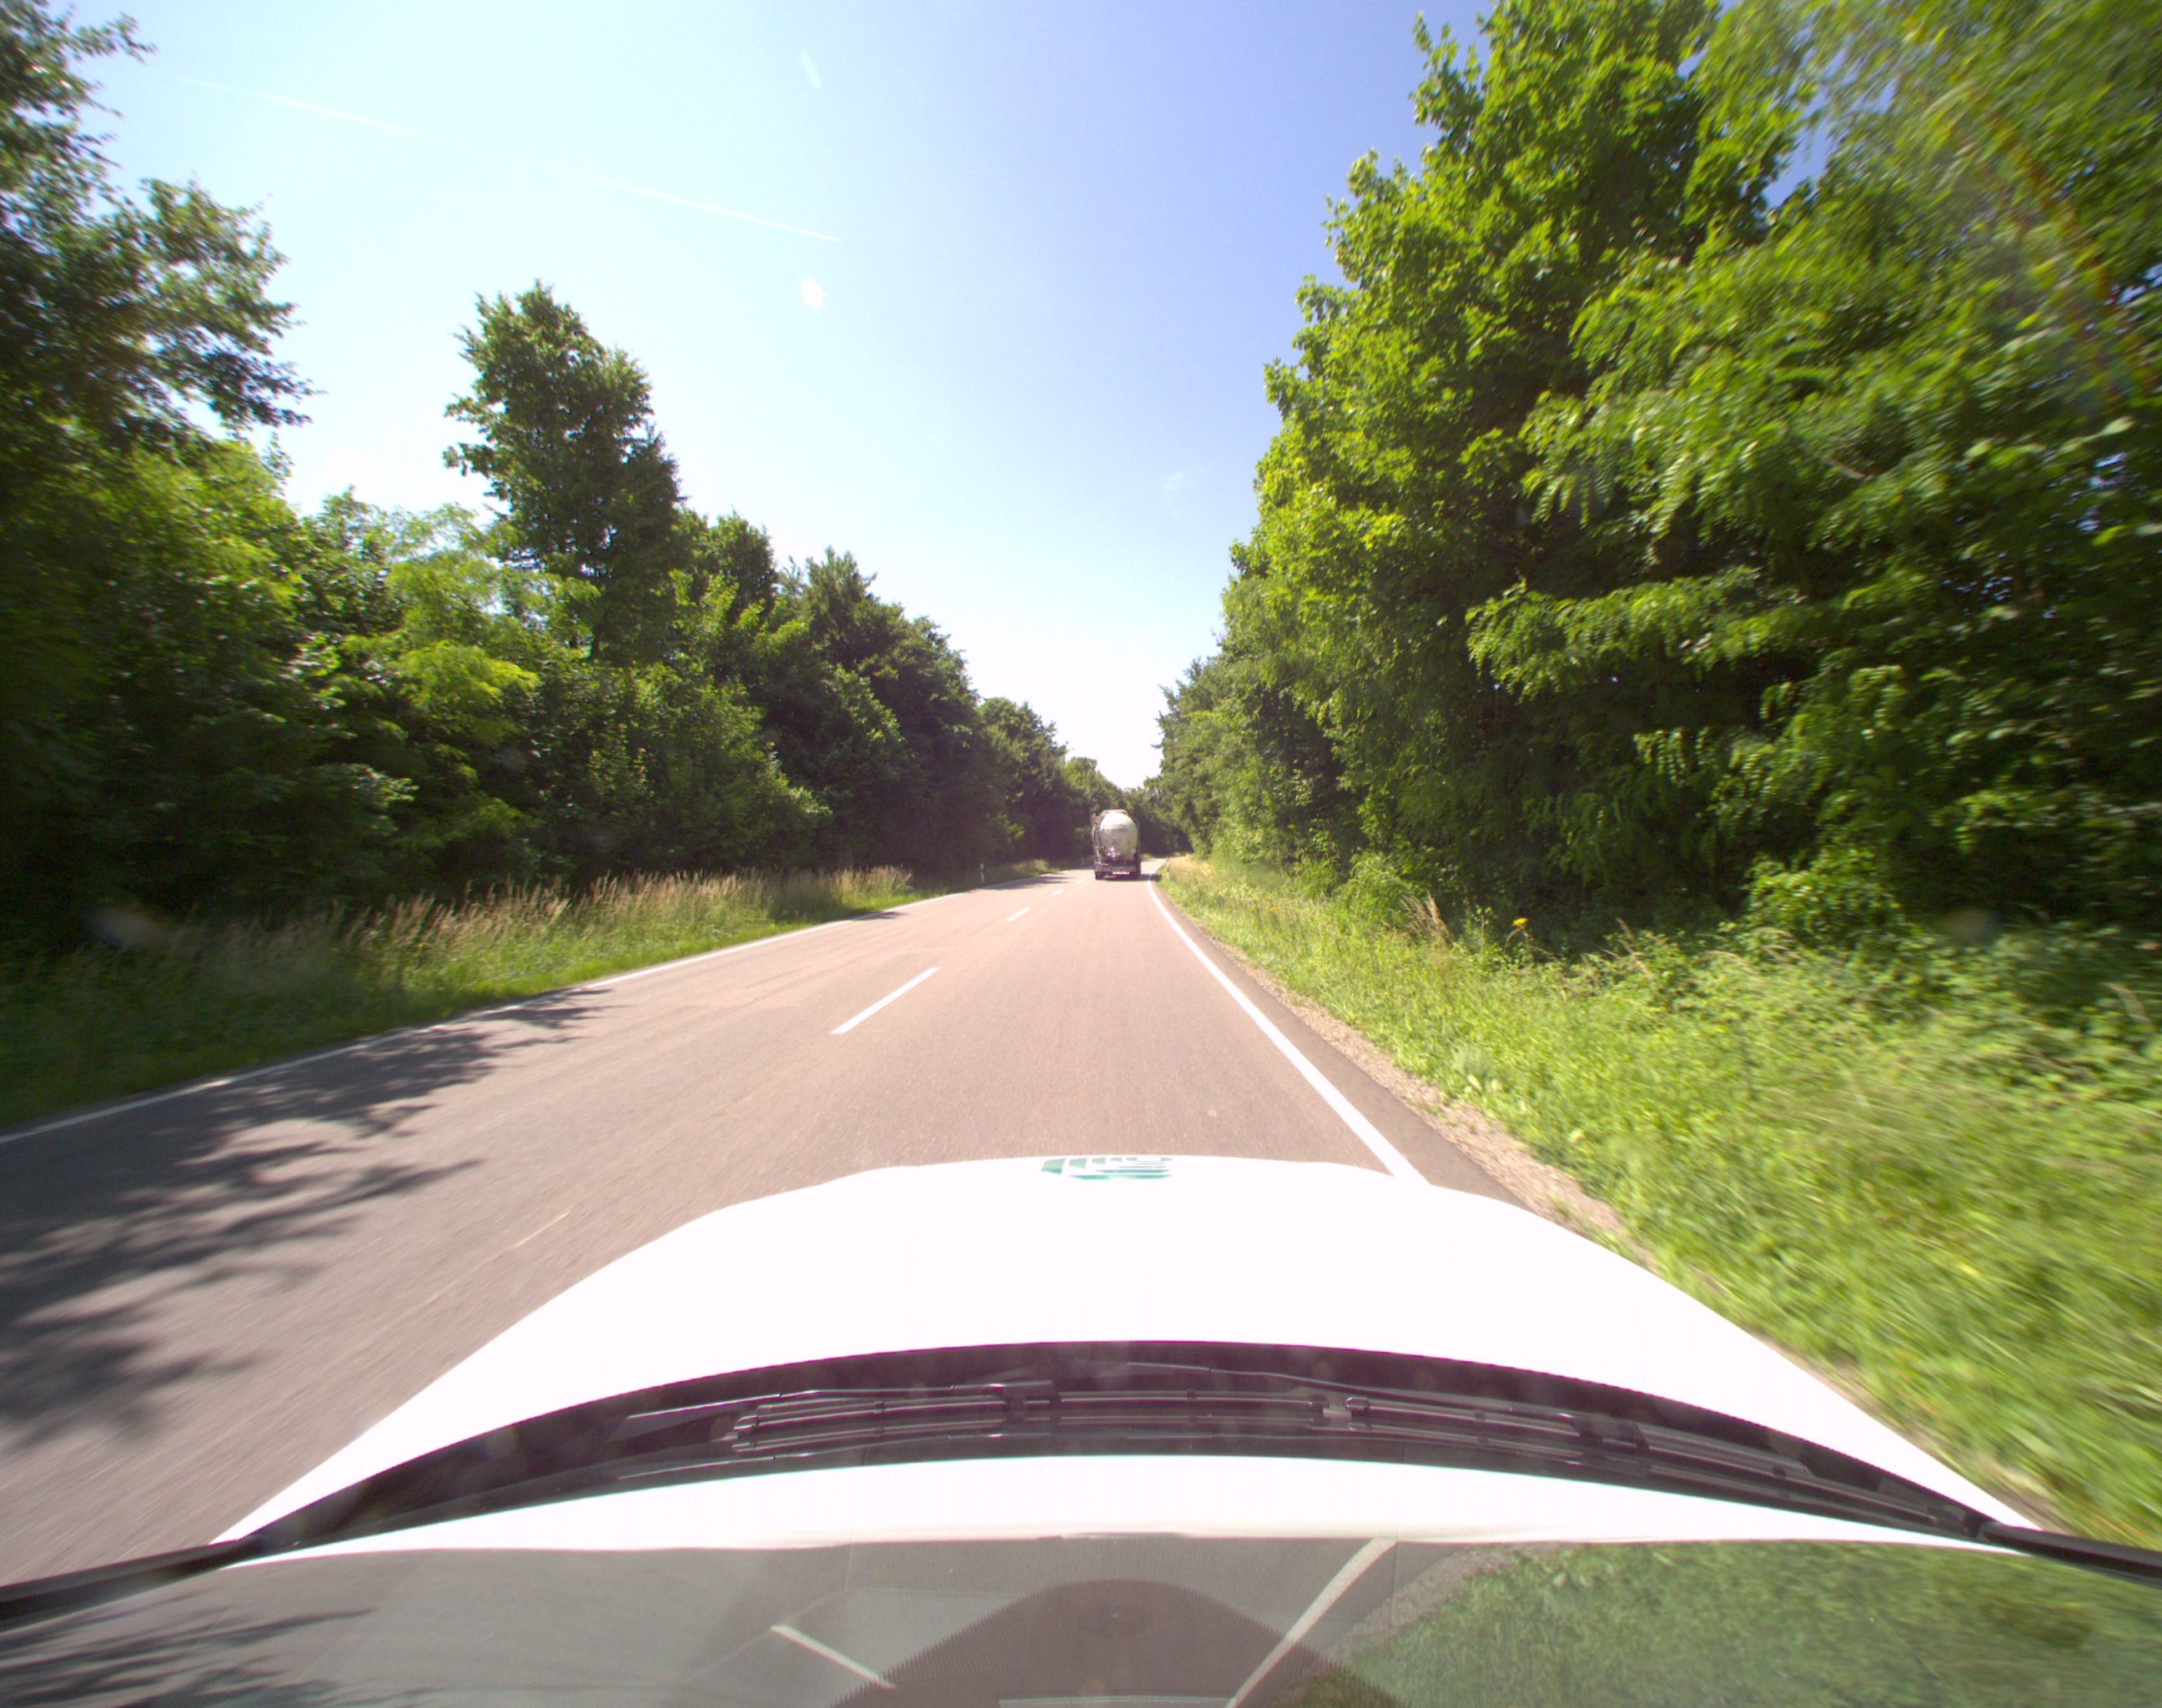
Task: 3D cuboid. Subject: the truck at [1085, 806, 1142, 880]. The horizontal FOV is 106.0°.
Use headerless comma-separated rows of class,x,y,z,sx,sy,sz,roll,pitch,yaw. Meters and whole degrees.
truck,2.174,-0.635,52.289,3.037,3.998,15.648,-1,0,3
